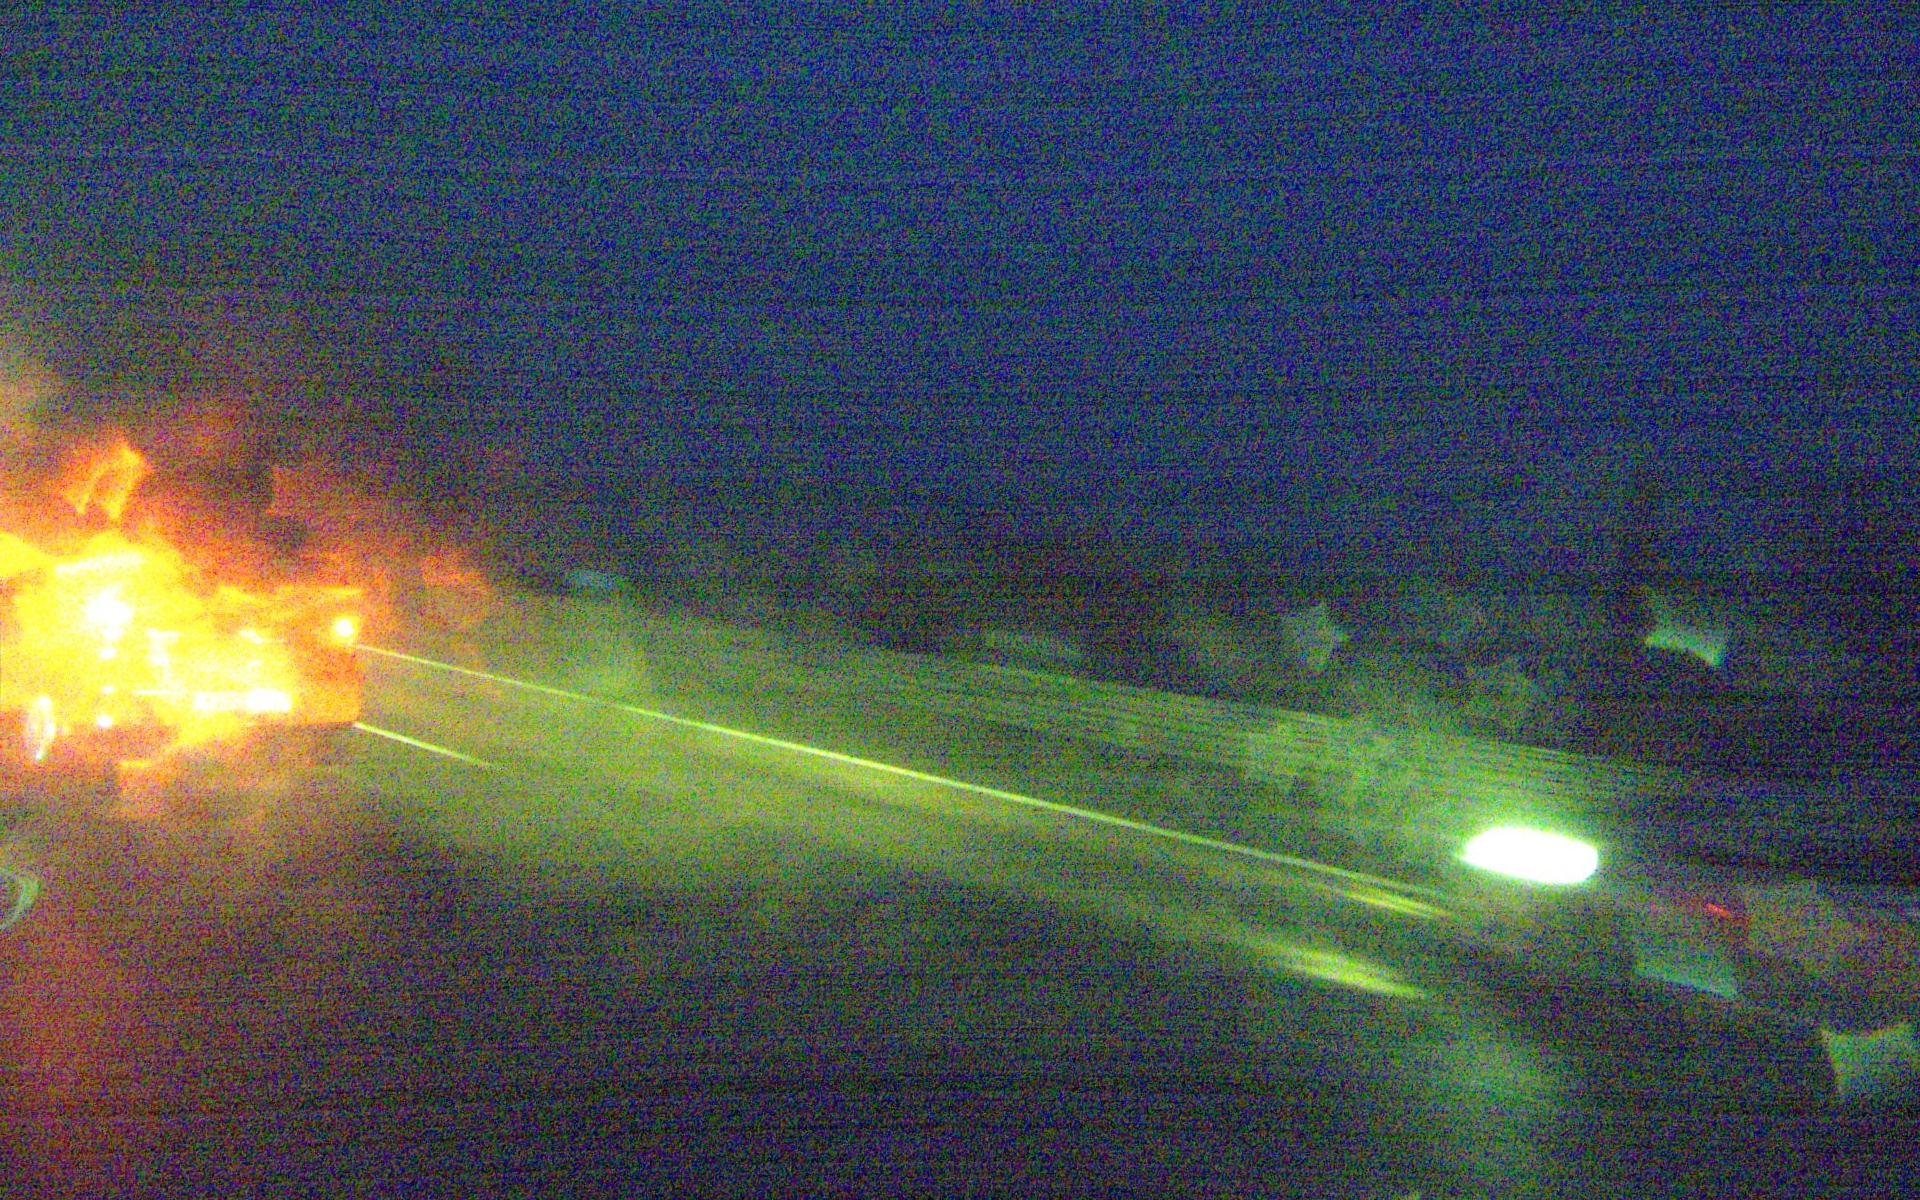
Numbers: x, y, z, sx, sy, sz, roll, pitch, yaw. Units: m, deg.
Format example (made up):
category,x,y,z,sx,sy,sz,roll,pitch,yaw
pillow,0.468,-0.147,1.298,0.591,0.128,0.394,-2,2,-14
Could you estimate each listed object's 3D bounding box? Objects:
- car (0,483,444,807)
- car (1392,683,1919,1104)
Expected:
category,x,y,z,sx,sy,sz,roll,pitch,yaw
car,-5.759,0.130,6.951,4.419,1.594,1.743,6,-1,31
car,4.521,1.465,5.113,3.947,1.521,1.641,7,0,32
